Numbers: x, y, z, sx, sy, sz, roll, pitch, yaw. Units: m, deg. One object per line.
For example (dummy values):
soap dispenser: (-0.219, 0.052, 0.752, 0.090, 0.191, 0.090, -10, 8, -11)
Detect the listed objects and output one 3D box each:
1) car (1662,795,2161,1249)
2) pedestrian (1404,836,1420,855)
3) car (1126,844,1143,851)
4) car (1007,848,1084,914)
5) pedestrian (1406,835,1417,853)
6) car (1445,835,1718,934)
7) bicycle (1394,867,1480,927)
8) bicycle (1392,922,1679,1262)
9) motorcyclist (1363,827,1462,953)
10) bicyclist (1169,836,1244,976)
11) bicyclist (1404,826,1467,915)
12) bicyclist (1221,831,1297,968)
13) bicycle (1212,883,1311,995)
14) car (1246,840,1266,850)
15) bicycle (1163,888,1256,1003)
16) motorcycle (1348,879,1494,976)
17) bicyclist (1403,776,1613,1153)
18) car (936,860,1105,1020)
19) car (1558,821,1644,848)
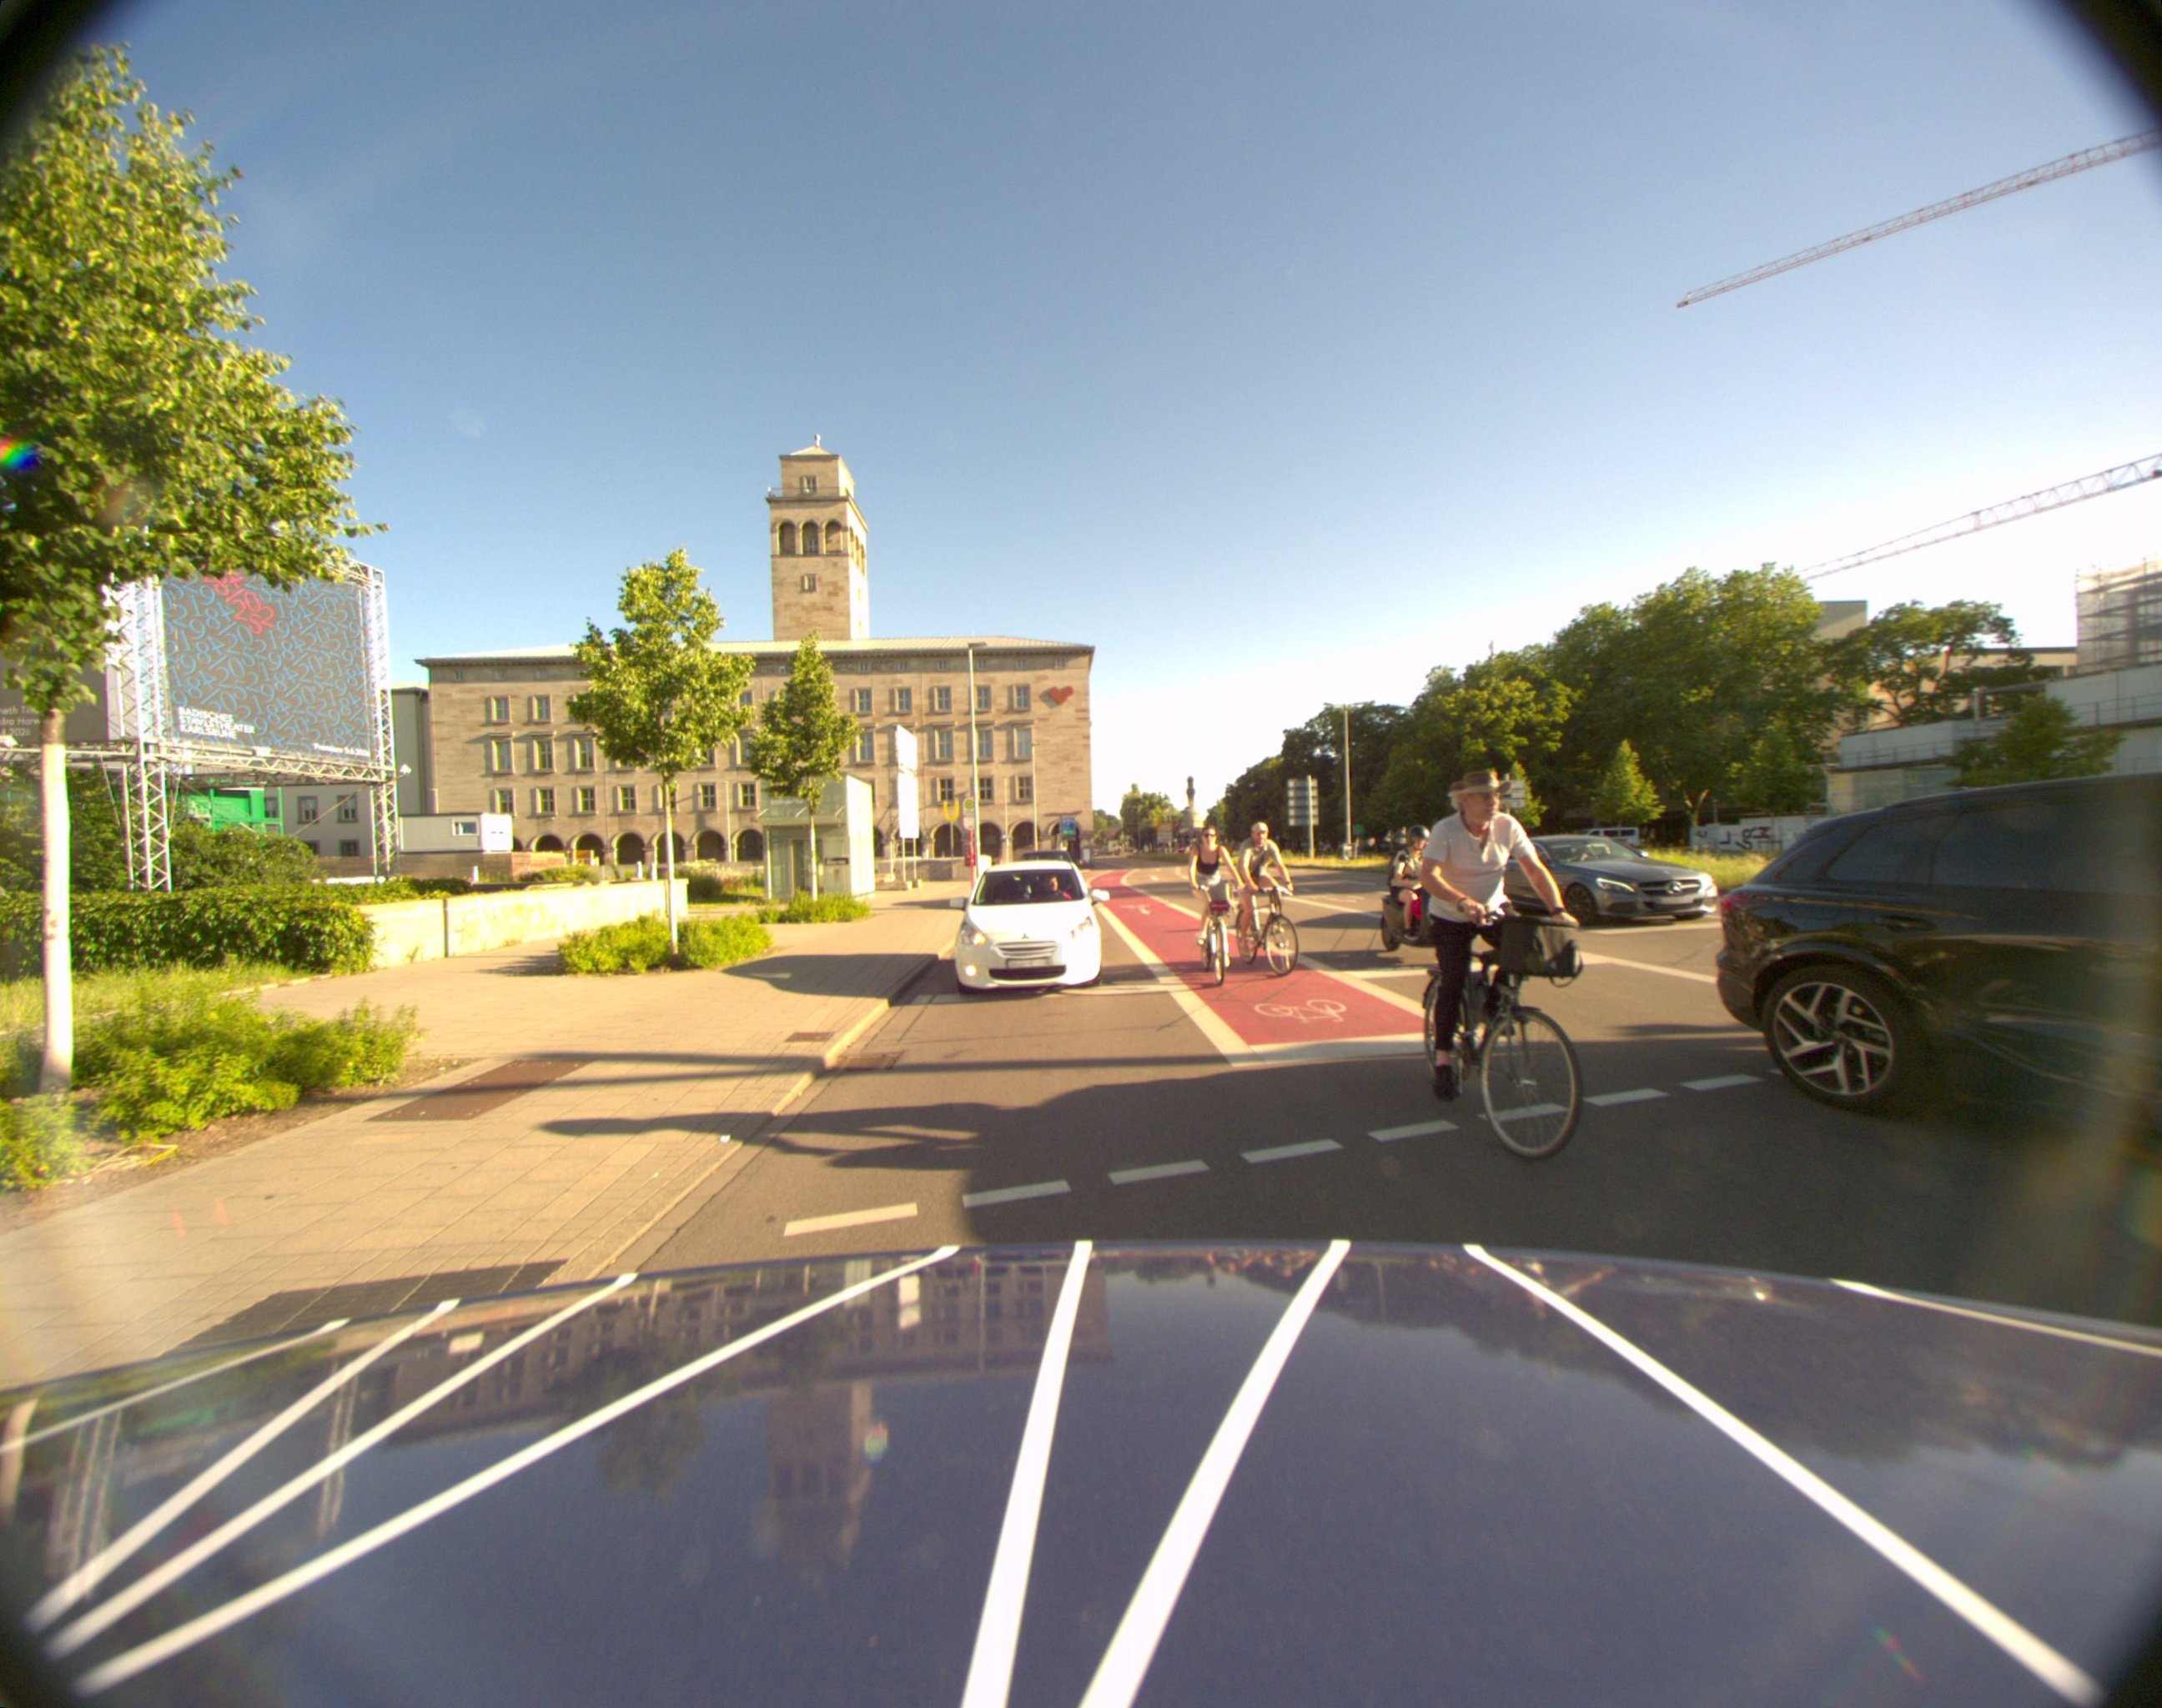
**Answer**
car: (5.024, 0.576, 2.577, 2.200, 1.652, 4.789, -2, 1, -5)
pedestrian: (31.582, -0.838, 72.552, 0.997, 1.773, 0.964, -3, 2, -1)
car: (12.195, -1.393, 172.337, 3.768, 1.443, 1.619, -3, 1, 1)
car: (-1.007, 0.703, 22.546, 1.999, 1.652, 4.790, -2, 1, -2)
pedestrian: (30.490, -0.922, 70.190, 0.664, 1.717, 0.697, -2, 1, -1)
car: (8.370, 0.405, 13.307, 1.775, 1.344, 4.525, -3, 1, 0)
bicycle: (6.315, 0.737, 13.584, 0.624, 0.903, 1.910, -3, 1, 1)
bicycle: (2.099, 0.986, 3.805, 0.708, 1.088, 1.802, -2, 1, 13)
motorcyclist: (4.139, 0.424, 9.534, 0.757, 1.475, 0.881, -3, 1, -6)
bicyclist: (1.448, 0.577, 8.870, 0.652, 1.534, 0.847, -2, 1, -4)
bicyclist: (6.294, 0.281, 13.529, 0.624, 1.495, 0.937, -3, 1, 0)
bicyclist: (2.134, 0.518, 9.196, 0.625, 1.566, 0.894, -2, 1, -4)
bicycle: (2.139, 0.969, 9.234, 0.625, 1.110, 1.815, -2, 1, -4)
car: (23.569, -1.208, 102.244, 1.618, 1.126, 3.769, -3, 1, -2)
bicycle: (1.457, 1.007, 8.906, 0.652, 1.088, 1.799, -2, 1, -4)
motorcycle: (4.167, 0.860, 9.506, 0.757, 0.963, 1.958, -3, 1, -6)
bicyclist: (2.072, 0.492, 3.794, 0.700, 1.660, 0.787, -2, 1, 13)
car: (-0.645, 0.910, 9.875, 1.660, 1.463, 3.968, -4, 1, 0)
car: (40.798, -1.481, 59.721, 5.326, 1.880, 2.000, -2, 0, 1)
